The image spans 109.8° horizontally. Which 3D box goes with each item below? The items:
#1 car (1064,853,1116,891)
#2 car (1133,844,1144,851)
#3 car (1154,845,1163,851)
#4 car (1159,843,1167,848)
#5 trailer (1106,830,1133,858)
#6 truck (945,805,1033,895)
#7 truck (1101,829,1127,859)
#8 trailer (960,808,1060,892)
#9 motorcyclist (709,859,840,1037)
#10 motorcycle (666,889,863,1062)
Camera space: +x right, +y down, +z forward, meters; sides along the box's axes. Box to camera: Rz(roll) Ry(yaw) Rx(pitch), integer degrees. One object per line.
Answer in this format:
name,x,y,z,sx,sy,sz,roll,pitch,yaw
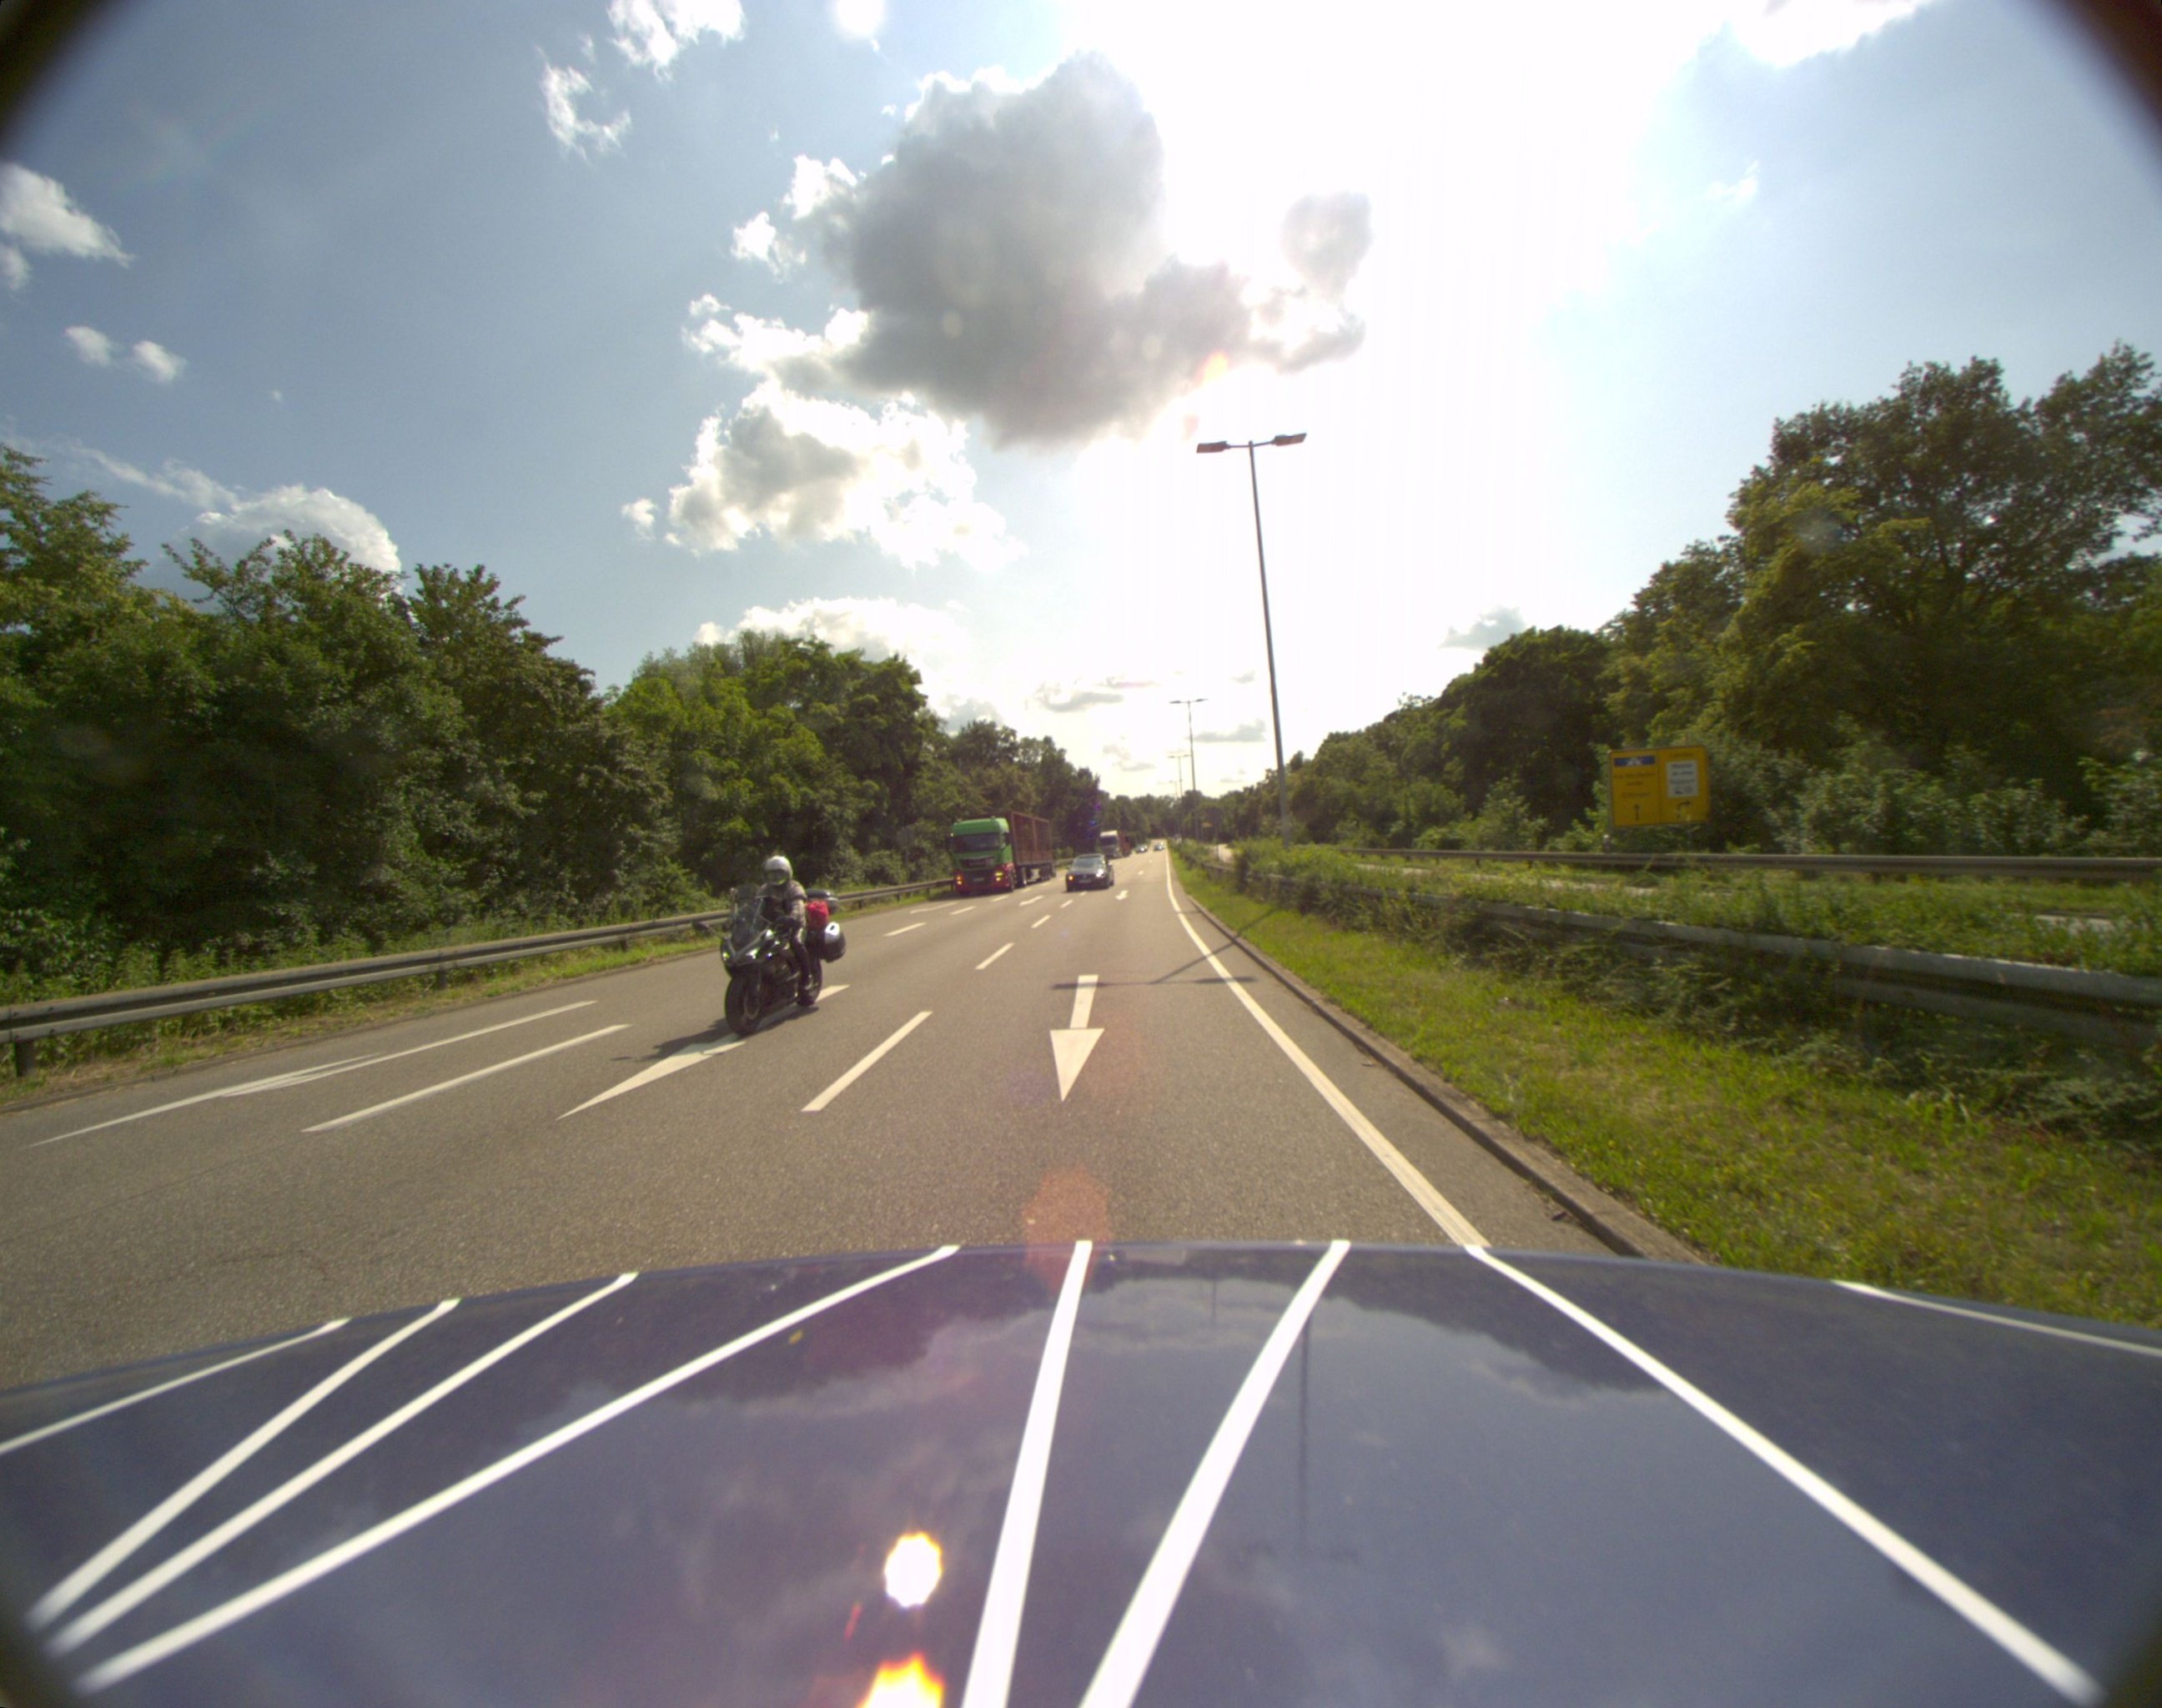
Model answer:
car,0.446,0.733,33.143,1.735,1.468,4.049,-3,0,7
car,11.700,-1.342,154.060,1.997,1.330,4.002,-3,0,8
car,17.150,-1.347,167.943,1.796,1.368,4.002,-3,0,7
car,20.736,-2.128,192.591,1.796,1.368,4.002,-3,0,7
trailer,6.187,-1.546,119.050,2.693,3.948,12.399,-5,0,9
truck,-4.330,-0.189,37.206,2.590,3.871,6.064,-5,0,7
truck,4.938,-1.460,111.652,2.689,3.948,7.387,-5,0,9
trailer,-3.628,-0.230,43.792,2.590,3.871,14.507,-5,0,6
motorcyclist,-3.115,0.916,7.820,0.867,1.690,0.894,-3,0,3
motorcycle,-3.104,1.118,7.812,0.867,1.381,2.370,-3,0,3
